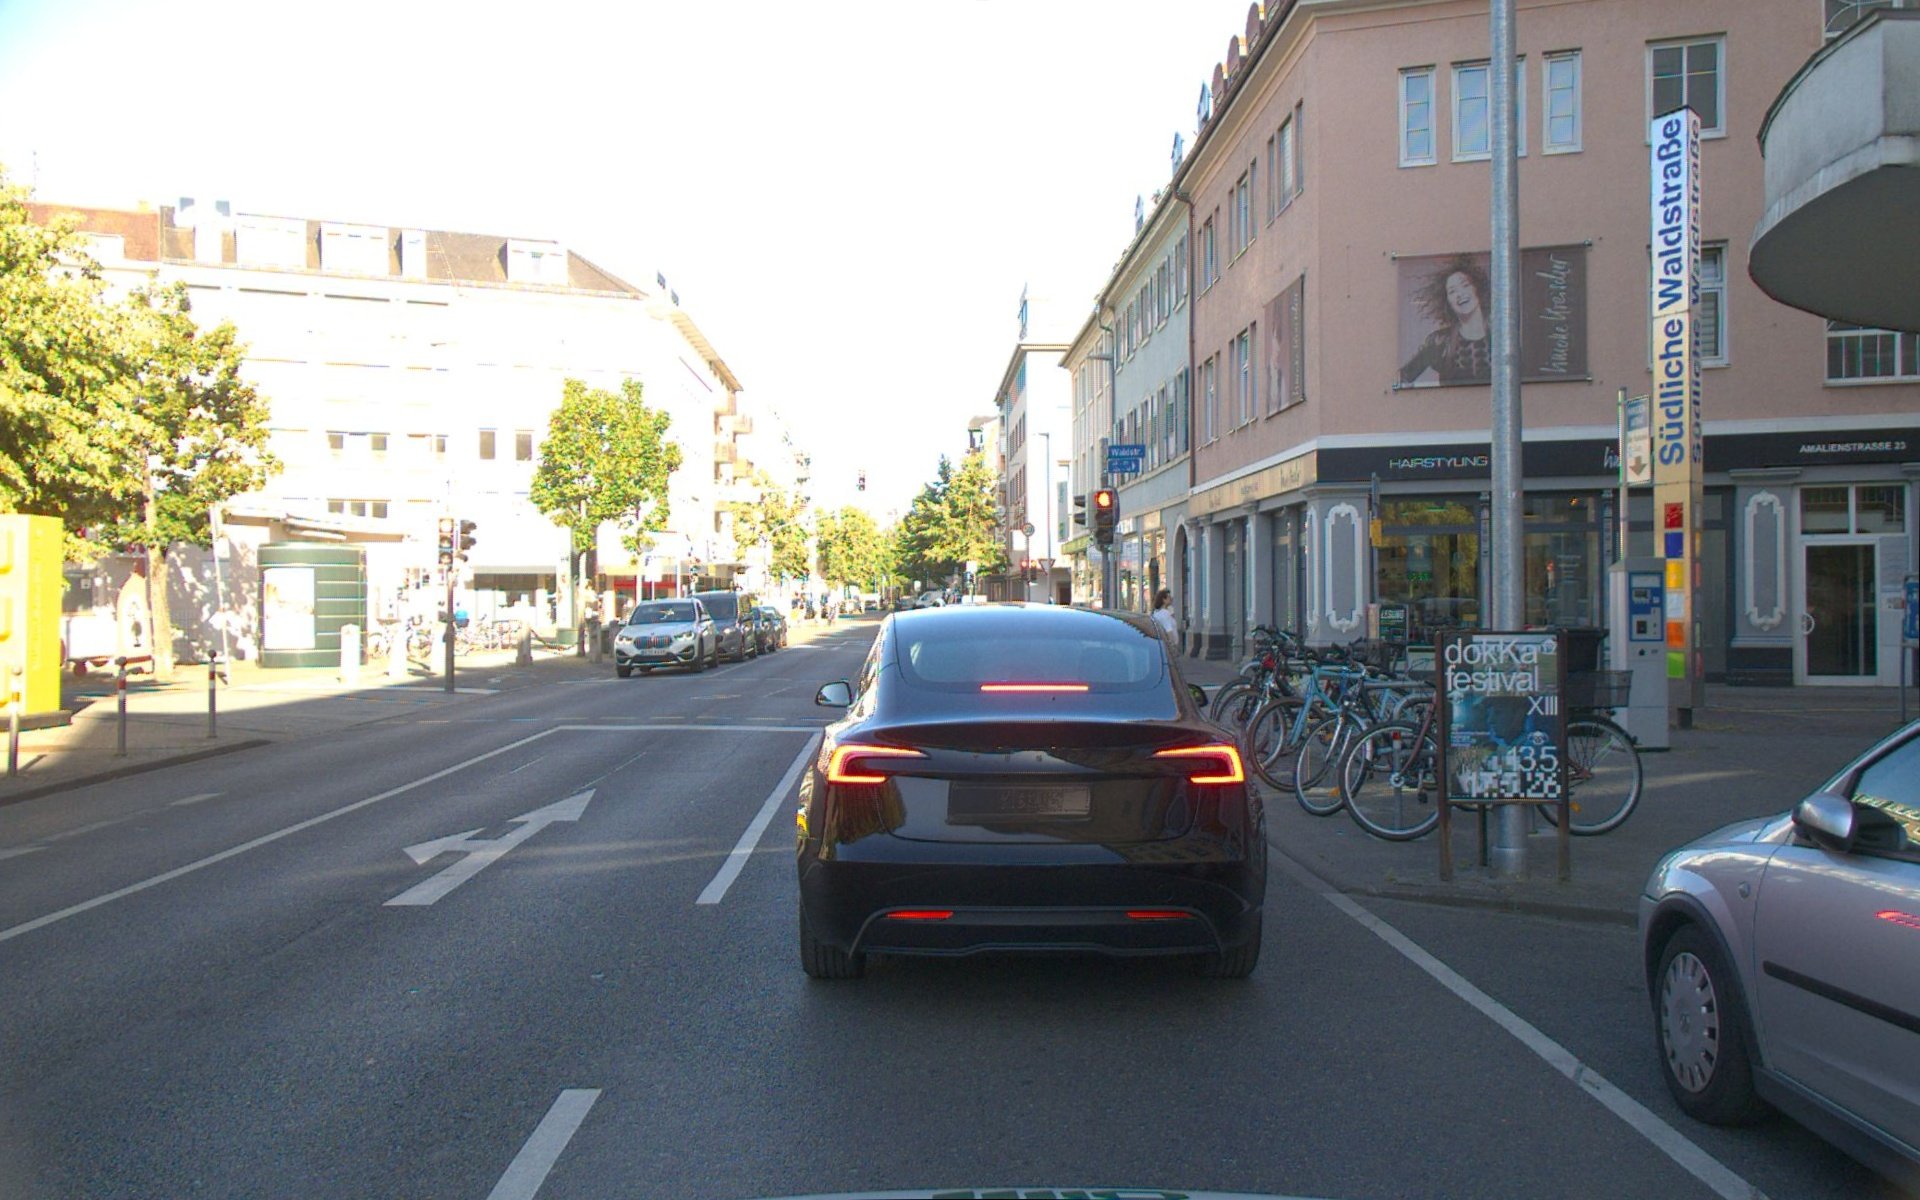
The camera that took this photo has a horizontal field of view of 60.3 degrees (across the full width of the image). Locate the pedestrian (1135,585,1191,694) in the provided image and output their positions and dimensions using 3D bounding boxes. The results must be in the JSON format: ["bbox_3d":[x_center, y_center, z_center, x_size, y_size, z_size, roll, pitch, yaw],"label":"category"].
[{"bbox_3d":[2.986,0.579,24.384,0.732,1.579,0.699,0,0,-1],"label":"pedestrian"}]

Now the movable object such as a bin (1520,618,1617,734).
[{"bbox_3d":[6.046,0.743,16.464,0.737,1.111,0.627,1,0,1],"label":"movable object such as a bin"}]

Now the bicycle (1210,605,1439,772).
[{"bbox_3d":[2.989,0.716,13.685,1.709,1.289,0.781,-2,0,2],"label":"bicycle"}]

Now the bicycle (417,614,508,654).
[{"bbox_3d":[-14.887,1.008,49.565,2.485,1.176,0.841,0,0,-6],"label":"bicycle"}]

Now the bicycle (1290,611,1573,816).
[{"bbox_3d":[3.141,0.744,11.156,1.686,1.290,0.791,-2,0,5],"label":"bicycle"}]

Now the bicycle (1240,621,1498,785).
[{"bbox_3d":[3.058,0.766,12.507,1.760,1.144,0.782,-2,0,5],"label":"bicycle"}]

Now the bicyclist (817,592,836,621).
[{"bbox_3d":[-7.711,0.363,95.494,1.104,1.657,0.964,0,0,-4],"label":"bicyclist"}]

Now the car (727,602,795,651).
[{"bbox_3d":[-6.802,0.865,56.909,1.954,1.461,4.671,-4,0,-3],"label":"car"}]

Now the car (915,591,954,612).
[{"bbox_3d":[-2.566,0.146,167.515,3.907,2.049,1.999,0,0,-2],"label":"car"}]

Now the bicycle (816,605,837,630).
[{"bbox_3d":[-7.695,0.990,95.400,1.089,1.368,3.997,0,0,-4],"label":"bicycle"}]

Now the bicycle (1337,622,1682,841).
[{"bbox_3d":[3.288,0.779,10.027,1.846,1.214,0.692,-2,1,5],"label":"bicycle"}]

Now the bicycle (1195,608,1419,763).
[{"bbox_3d":[3.054,0.743,14.716,1.822,1.280,0.833,-2,0,5],"label":"bicycle"}]

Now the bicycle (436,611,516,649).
[{"bbox_3d":[-15.211,0.934,51.988,2.279,1.176,0.841,0,0,-6],"label":"bicycle"}]

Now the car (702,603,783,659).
[{"bbox_3d":[-6.419,0.878,49.323,1.954,1.434,4.671,-4,0,-3],"label":"car"}]

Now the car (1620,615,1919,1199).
[{"bbox_3d":[2.933,0.774,3.516,1.580,1.406,3.642,1,0,0],"label":"car"}]

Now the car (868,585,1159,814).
[{"bbox_3d":[0.289,0.663,13.205,1.953,1.538,4.173,0,0,-2],"label":"car"}]

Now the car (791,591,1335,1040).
[{"bbox_3d":[0.316,0.719,7.496,1.810,1.480,3.999,0,0,-1],"label":"car"}]

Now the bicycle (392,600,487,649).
[{"bbox_3d":[-14.709,0.691,46.810,2.429,1.347,0.921,0,0,-6],"label":"bicycle"}]

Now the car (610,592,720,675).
[{"bbox_3d":[-6.378,0.682,36.226,1.771,1.582,4.307,-4,0,-3],"label":"car"}]

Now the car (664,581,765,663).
[{"bbox_3d":[-6.227,0.522,42.503,1.797,1.877,4.674,-4,0,0],"label":"car"}]

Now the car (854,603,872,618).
[{"bbox_3d":[-10.979,1.198,186.892,1.954,1.666,3.997,0,0,-4],"label":"car"}]

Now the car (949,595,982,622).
[{"bbox_3d":[0.312,0.506,100.723,1.953,1.657,3.999,0,0,-1],"label":"car"}]

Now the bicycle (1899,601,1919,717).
[{"bbox_3d":[10.283,0.617,17.014,0.645,1.220,2.212,0,0,18],"label":"bicycle"}]

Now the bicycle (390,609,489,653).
[{"bbox_3d":[-14.101,0.836,44.887,2.412,1.176,0.842,0,0,-2],"label":"bicycle"}]

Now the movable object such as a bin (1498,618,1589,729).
[{"bbox_3d":[6.025,0.746,17.101,0.718,1.111,0.627,1,0,1],"label":"movable object such as a bin"}]

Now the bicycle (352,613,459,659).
[{"bbox_3d":[-14.188,0.917,42.354,2.455,1.176,0.842,0,0,-2],"label":"bicycle"}]
